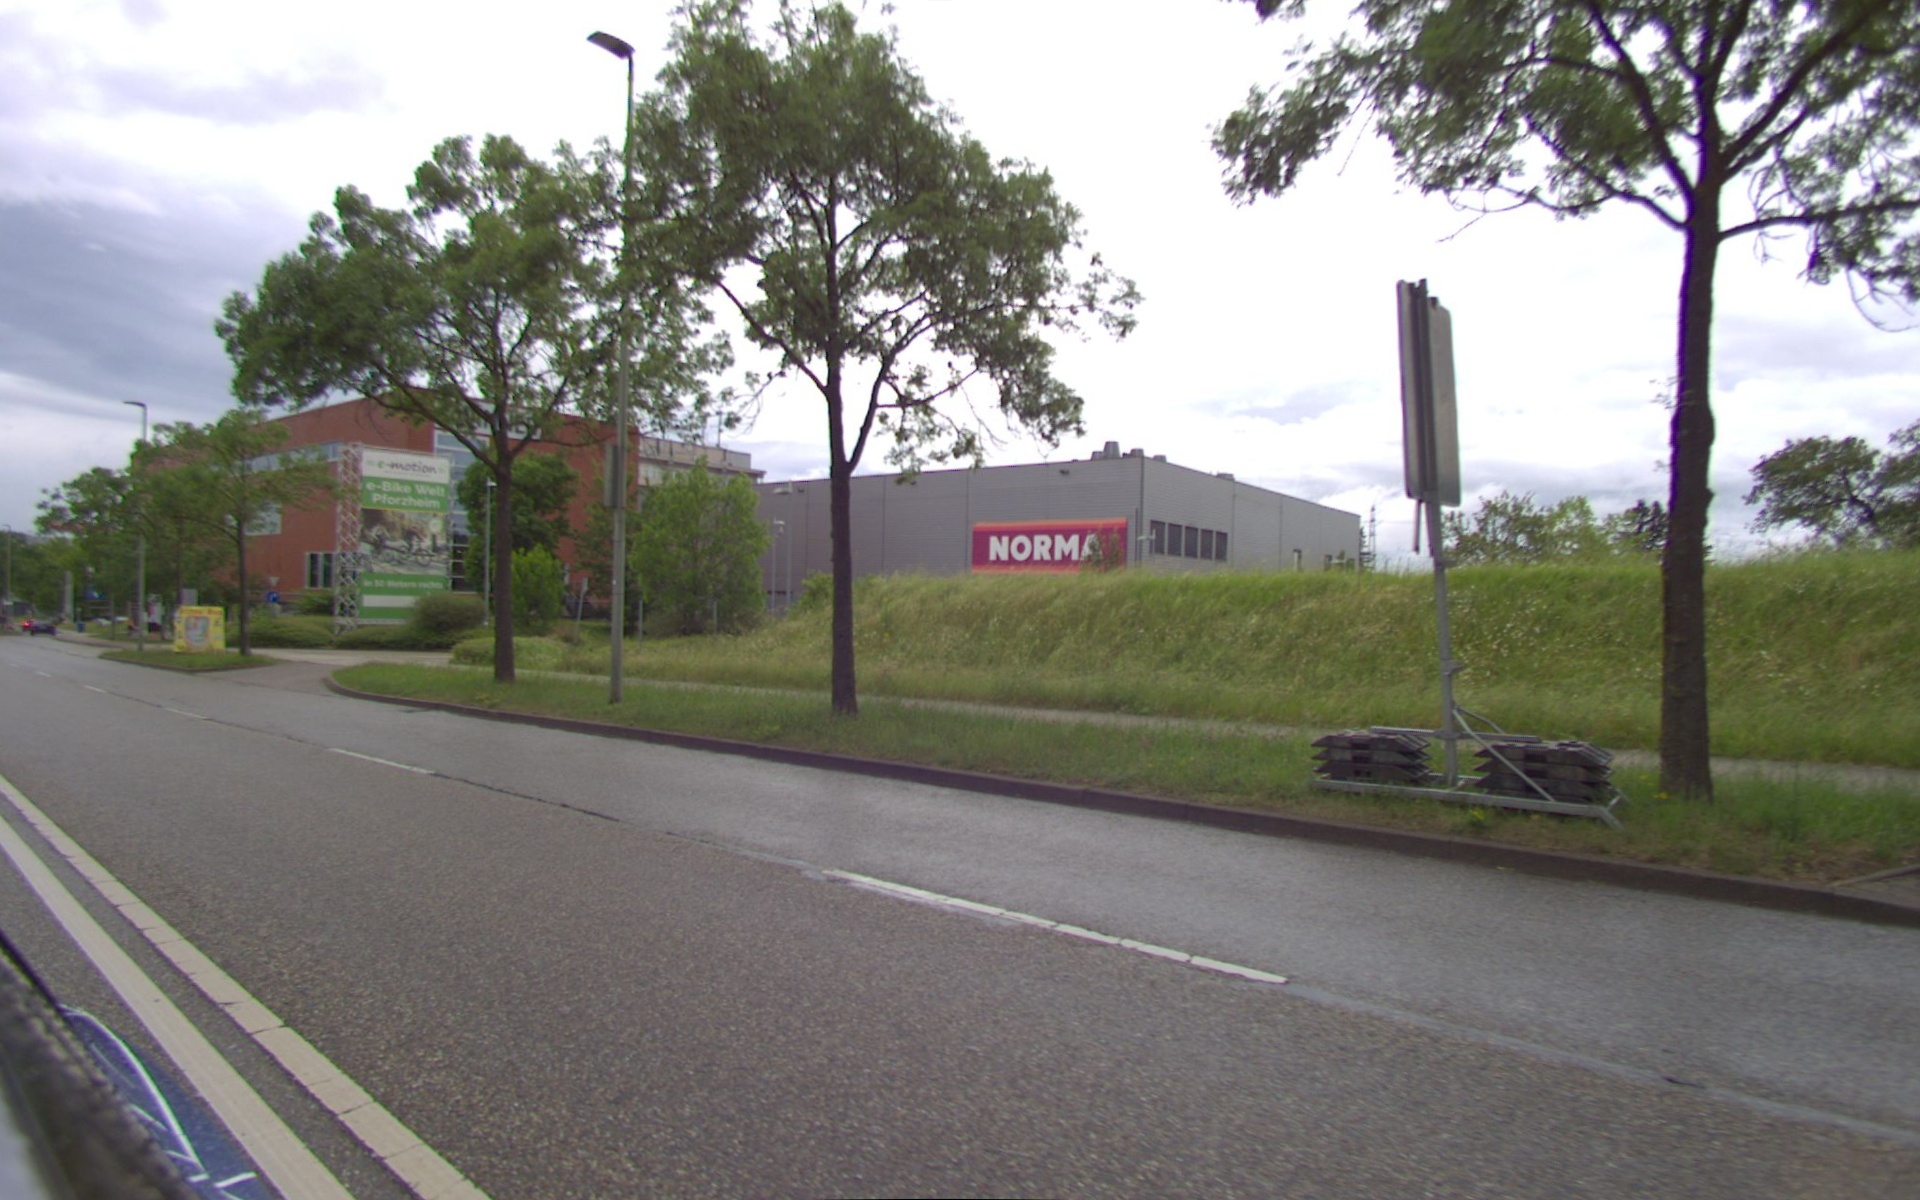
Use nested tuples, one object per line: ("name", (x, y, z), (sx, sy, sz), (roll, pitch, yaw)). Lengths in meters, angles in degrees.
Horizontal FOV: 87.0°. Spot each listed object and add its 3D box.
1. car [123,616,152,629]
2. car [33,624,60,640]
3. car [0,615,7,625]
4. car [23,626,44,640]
("car", (-102.853, 2.845, 126.523), (4.431, 1.630, 1.812), (-1, -2, 36))
("car", (-85.339, 2.986, 94.541), (1.716, 1.465, 4.003), (3, -3, -44))
("car", (-158.120, 3.274, 166.390), (1.806, 1.630, 4.006), (-1, 0, -41))
("car", (-106.383, 3.780, 116.185), (1.656, 1.518, 4.219), (3, -3, -44))
